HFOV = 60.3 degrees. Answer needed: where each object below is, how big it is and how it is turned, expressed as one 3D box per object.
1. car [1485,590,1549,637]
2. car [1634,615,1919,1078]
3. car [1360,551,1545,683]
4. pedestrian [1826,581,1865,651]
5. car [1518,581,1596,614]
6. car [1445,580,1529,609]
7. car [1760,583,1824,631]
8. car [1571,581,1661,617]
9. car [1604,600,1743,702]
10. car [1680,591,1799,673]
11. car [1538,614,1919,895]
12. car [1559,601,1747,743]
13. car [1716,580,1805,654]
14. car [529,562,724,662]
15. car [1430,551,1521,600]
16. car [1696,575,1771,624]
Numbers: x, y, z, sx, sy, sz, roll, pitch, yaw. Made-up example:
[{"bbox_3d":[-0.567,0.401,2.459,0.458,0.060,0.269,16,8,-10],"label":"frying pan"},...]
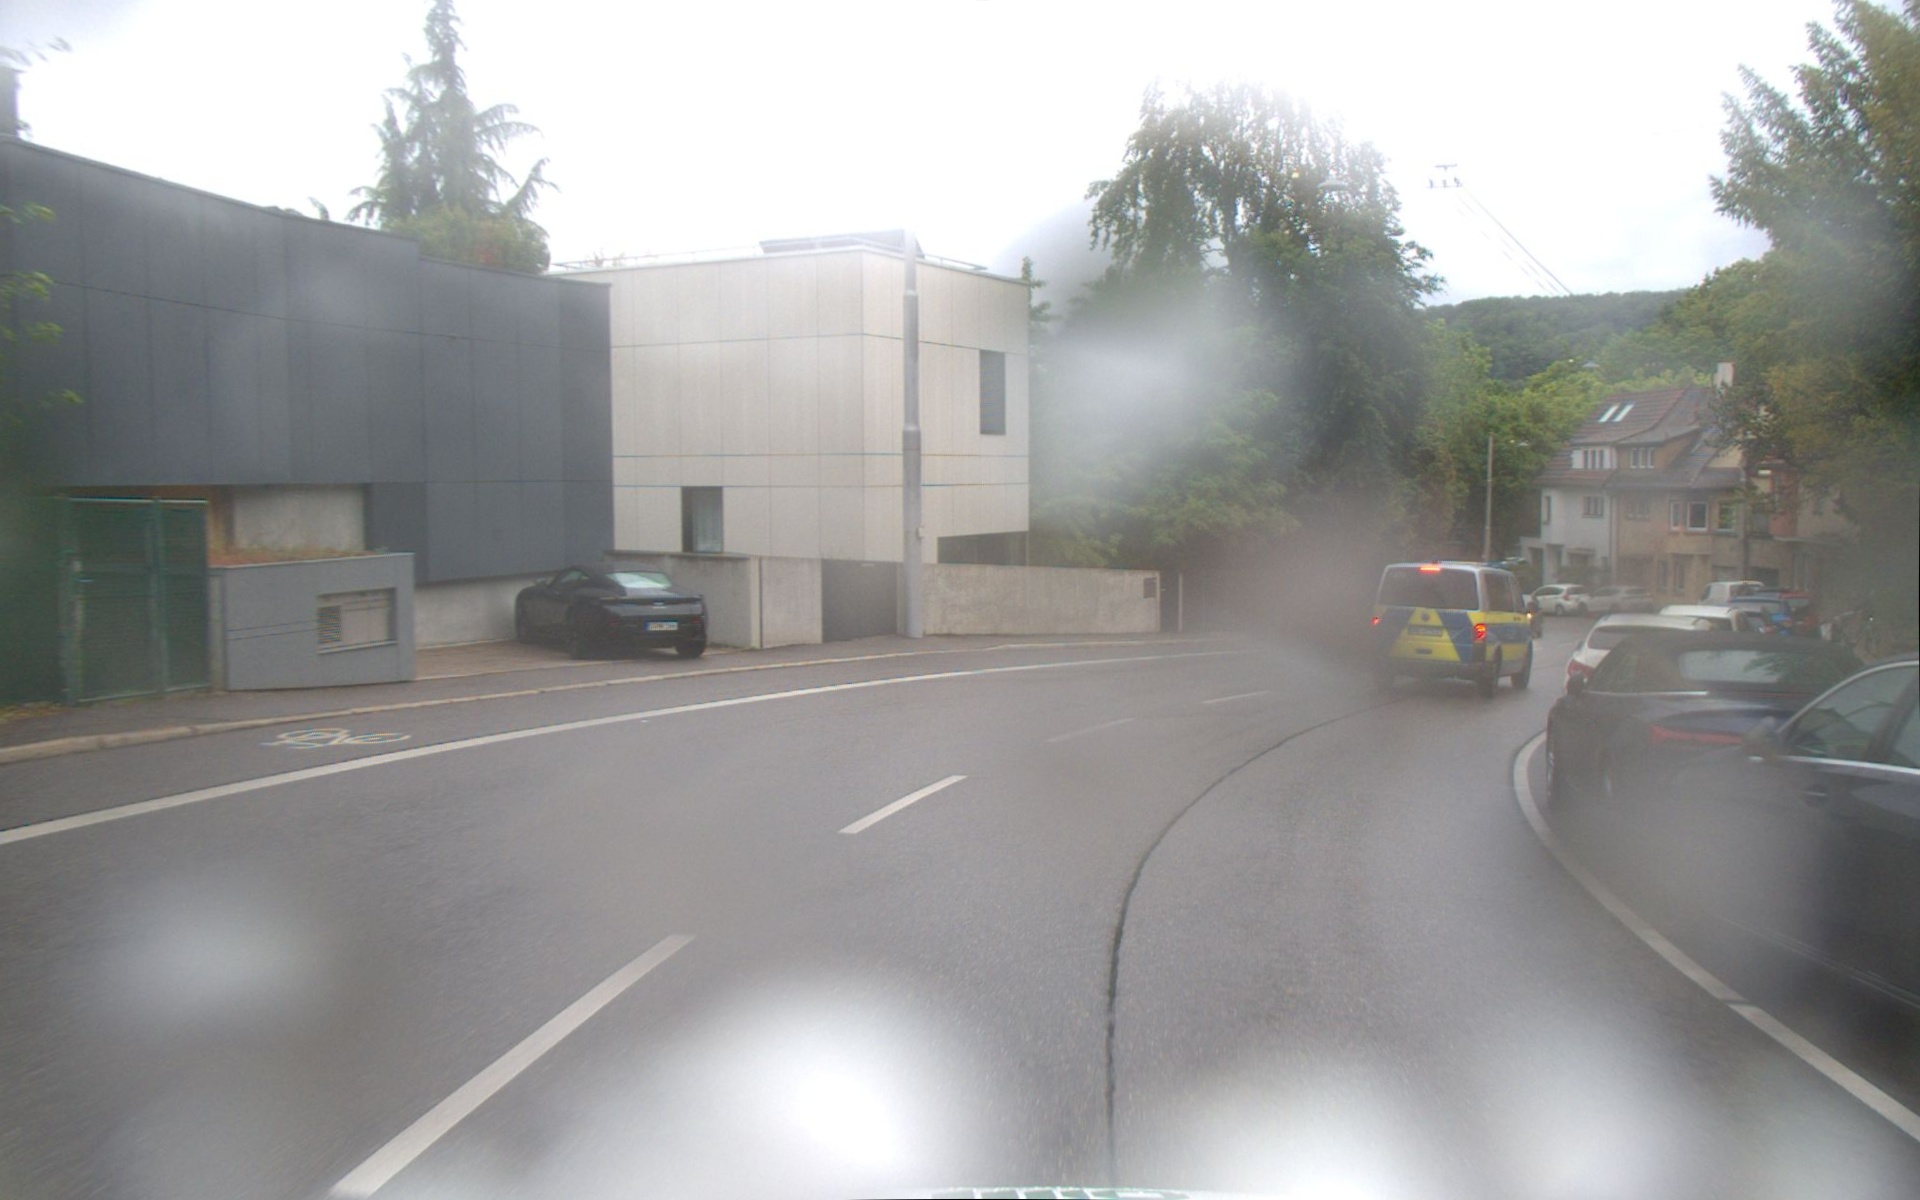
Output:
[{"bbox_3d":[19.168,0.428,56.841,1.617,1.444,3.800,4,2,25],"label":"car"},{"bbox_3d":[4.106,0.830,6.027,1.769,1.460,4.534,-1,0,5],"label":"car"},{"bbox_3d":[7.979,0.274,26.518,1.955,1.927,4.563,0,-1,28],"label":"car"},{"bbox_3d":[21.740,0.395,40.613,0.606,1.679,0.615,2,1,4],"label":"pedestrian"},{"bbox_3d":[30.035,-0.126,83.314,1.737,1.541,3.805,-3,1,-17],"label":"car"},{"bbox_3d":[28.034,-0.292,88.112,1.761,1.391,4.155,-4,1,-29],"label":"car"},{"bbox_3d":[29.100,0.230,57.897,1.582,1.460,3.582,-3,1,21],"label":"car"},{"bbox_3d":[31.176,-0.051,78.754,1.879,1.565,4.403,-3,1,-11],"label":"car"},{"bbox_3d":[12.133,0.790,27.987,1.773,1.480,4.248,1,1,28],"label":"car"},{"bbox_3d":[15.723,0.590,33.272,1.659,1.480,4.243,1,1,32],"label":"car"},{"bbox_3d":[5.029,0.841,10.979,1.768,1.371,4.624,-1,0,14],"label":"car"},{"bbox_3d":[8.538,0.792,20.151,1.744,1.460,4.564,-1,0,27],"label":"car"},{"bbox_3d":[19.061,0.357,39.295,1.701,1.621,4.248,1,1,28],"label":"car"},{"bbox_3d":[-5.009,0.125,24.454,1.869,1.324,3.966,0,1,-26],"label":"car"},{"bbox_3d":[29.397,-1.401,94.402,4.314,1.871,2.000,-12,3,0],"label":"car"},{"bbox_3d":[31.790,-0.040,68.108,1.669,1.822,4.330,-3,1,10],"label":"car"}]
